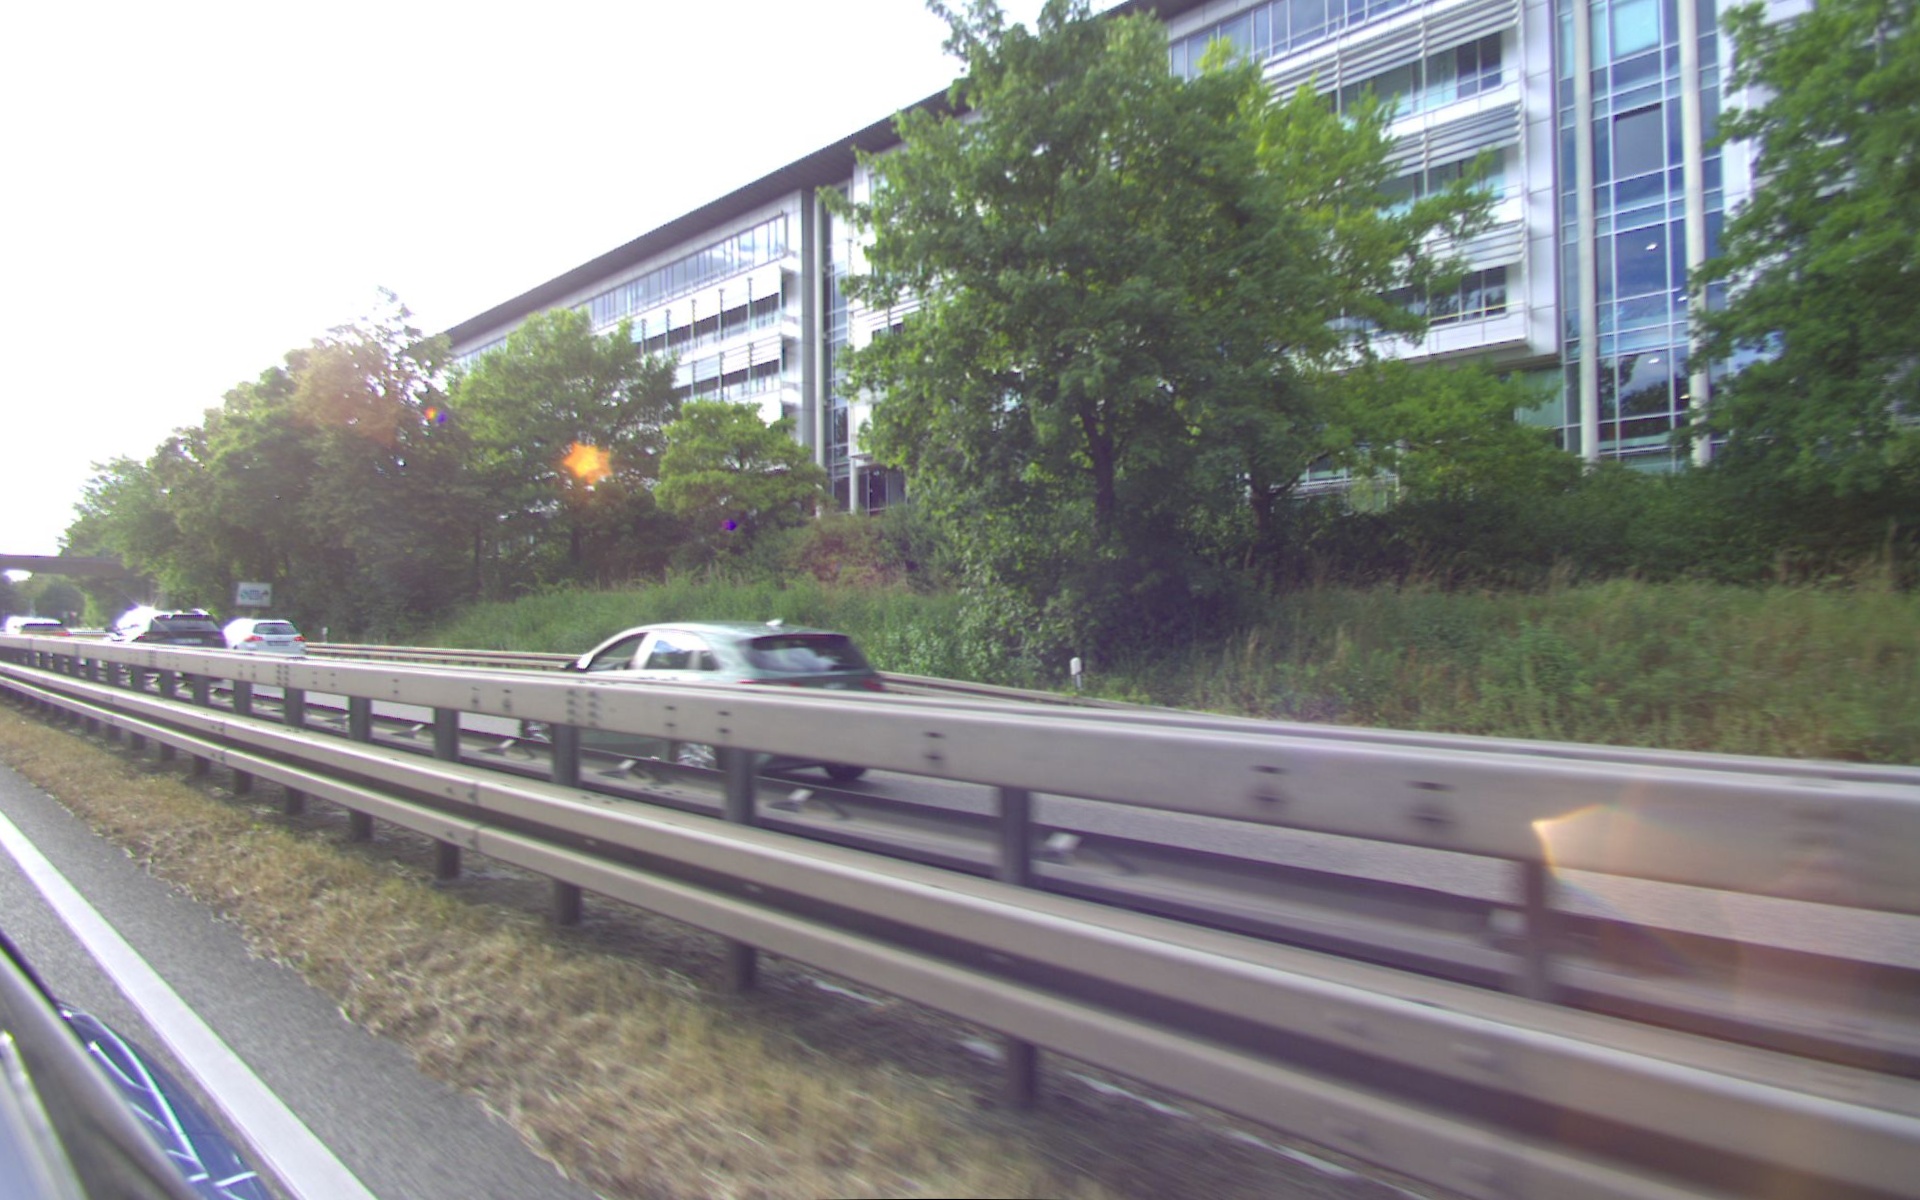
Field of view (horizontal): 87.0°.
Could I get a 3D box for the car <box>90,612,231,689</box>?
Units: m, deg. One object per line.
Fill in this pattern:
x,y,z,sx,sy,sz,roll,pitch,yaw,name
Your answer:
-19.333,1.150,24.374,5.277,1.657,1.724,-1,-2,41,car

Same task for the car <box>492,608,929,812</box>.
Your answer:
-2.466,0.852,9.370,4.309,1.469,1.725,-1,-3,40,car

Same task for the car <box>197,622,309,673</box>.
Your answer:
-22.252,1.481,31.804,4.414,1.496,1.798,-1,-4,41,car

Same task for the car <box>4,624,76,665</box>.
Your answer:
-35.232,1.659,38.717,3.998,1.458,1.575,-1,-2,41,car

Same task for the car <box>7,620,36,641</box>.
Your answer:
-86.468,2.788,93.220,1.846,1.869,4.626,1,-2,-44,car
